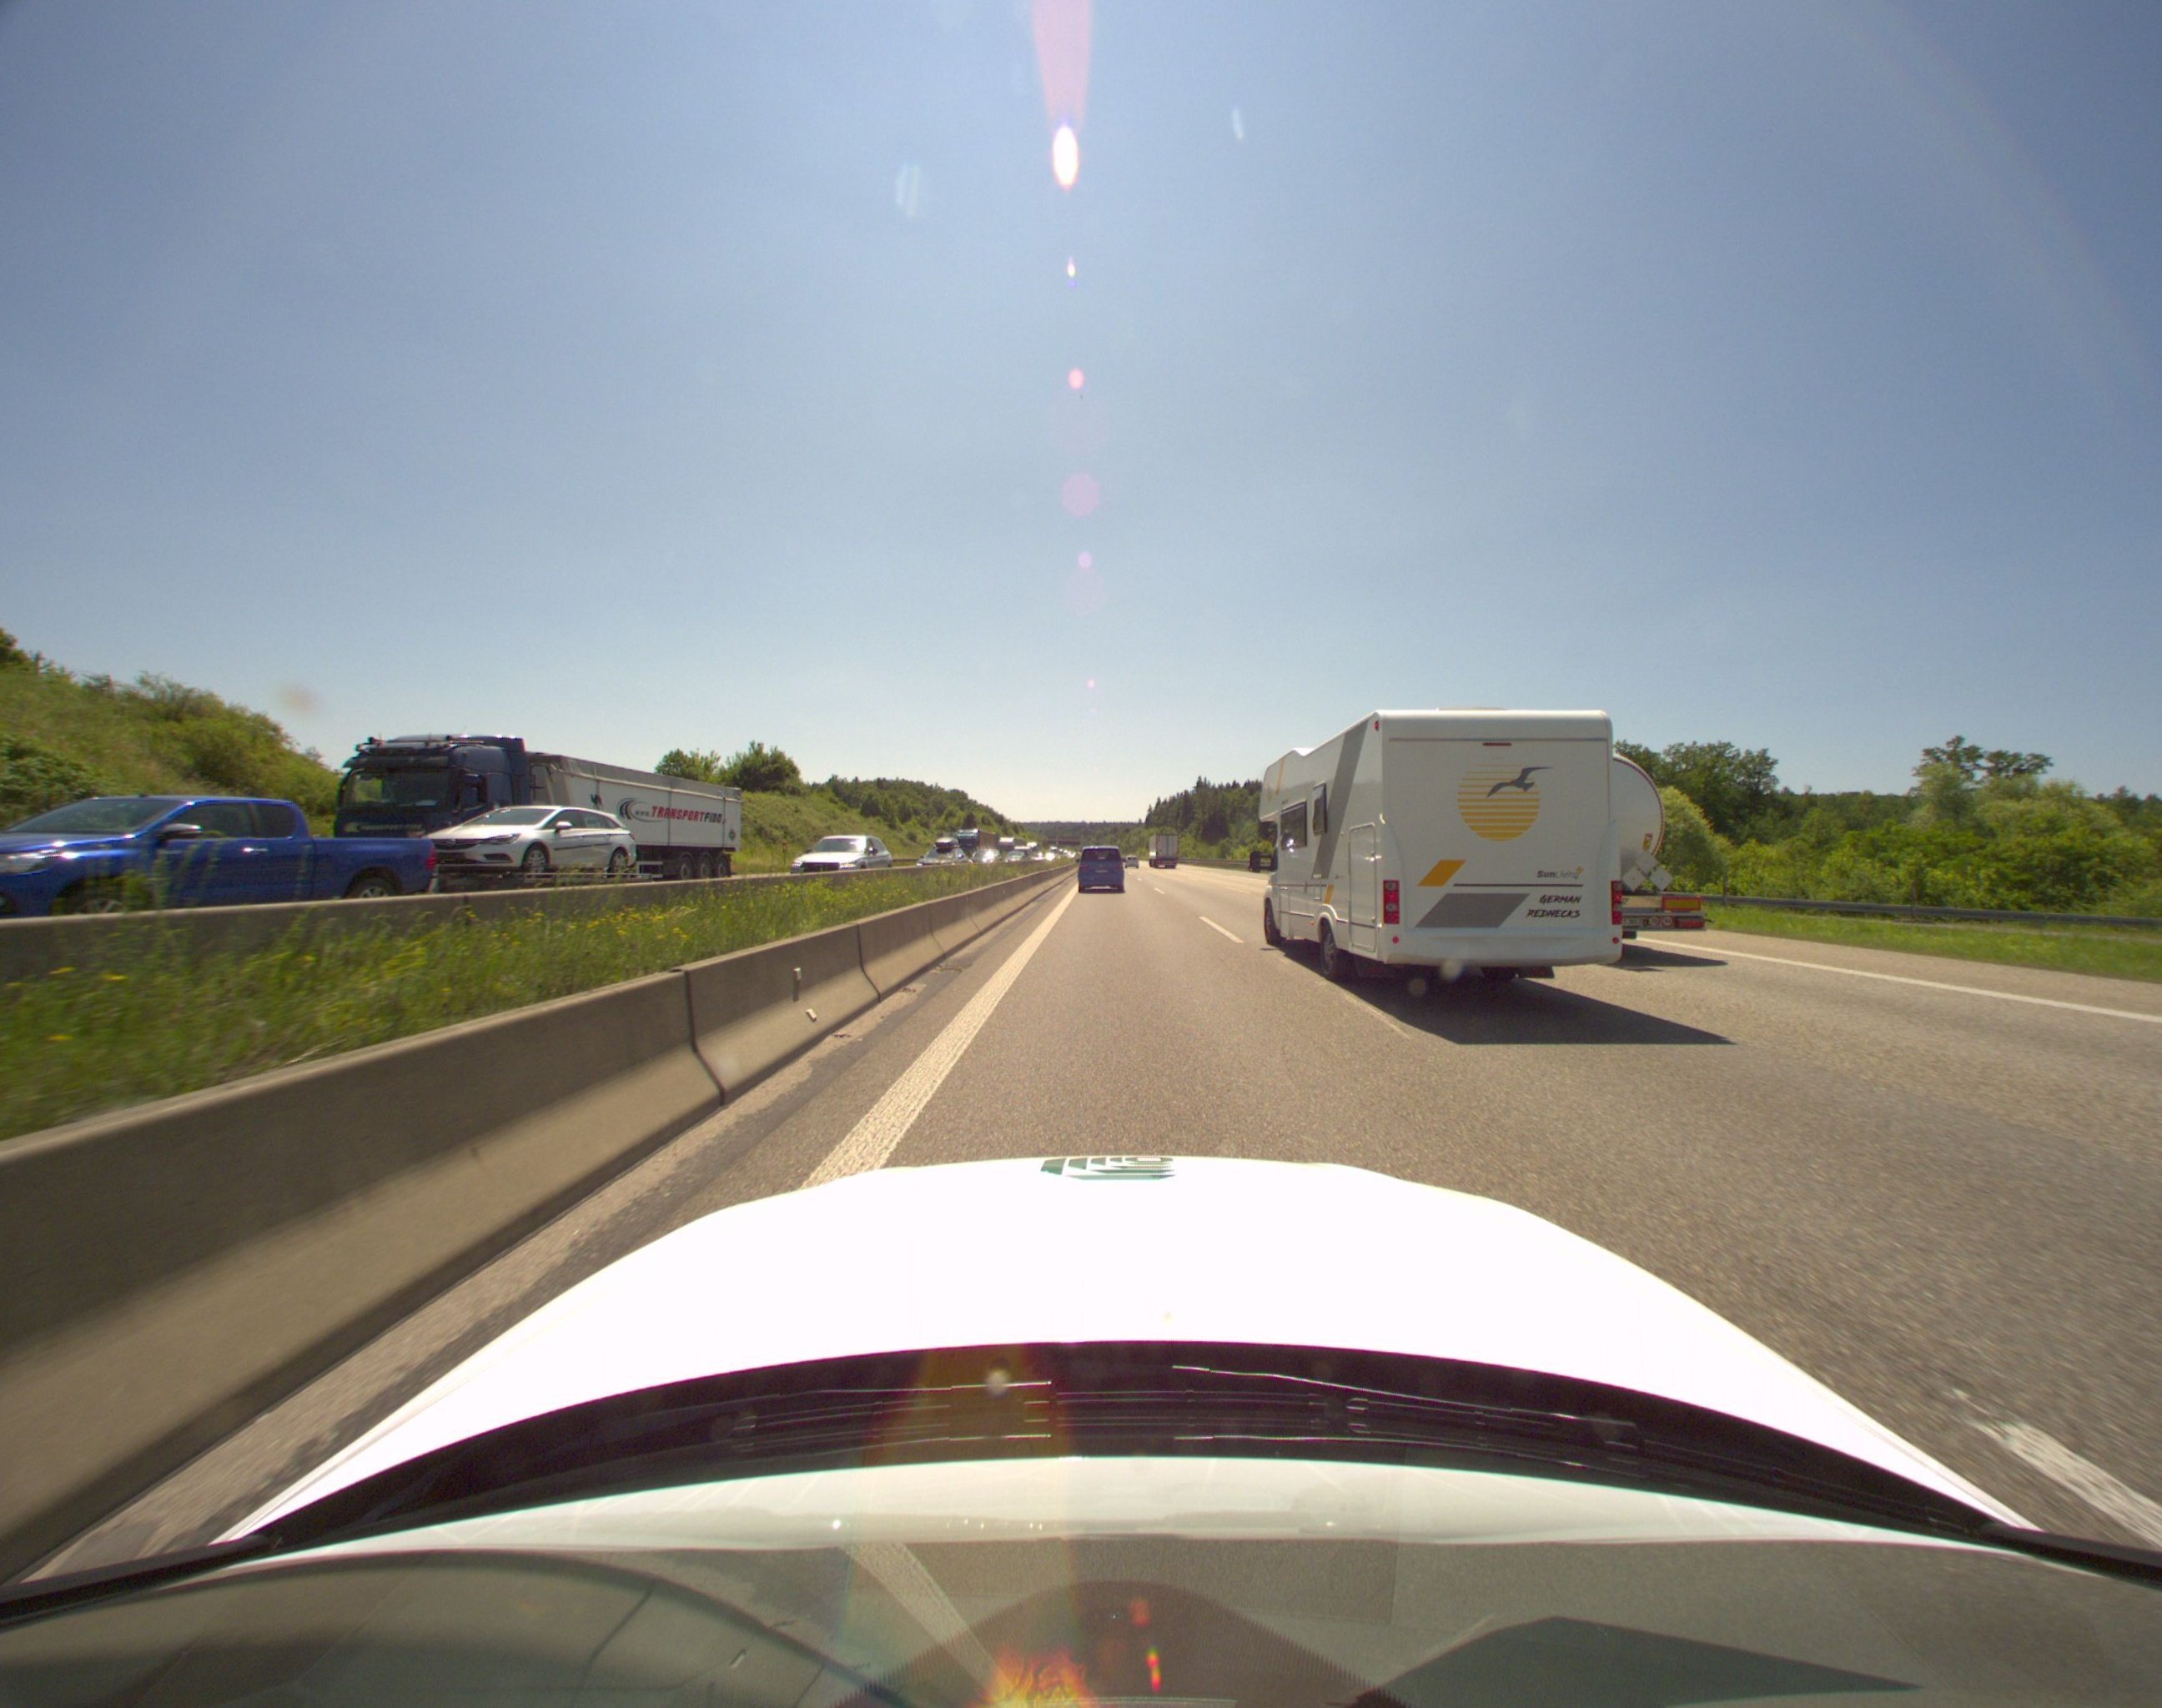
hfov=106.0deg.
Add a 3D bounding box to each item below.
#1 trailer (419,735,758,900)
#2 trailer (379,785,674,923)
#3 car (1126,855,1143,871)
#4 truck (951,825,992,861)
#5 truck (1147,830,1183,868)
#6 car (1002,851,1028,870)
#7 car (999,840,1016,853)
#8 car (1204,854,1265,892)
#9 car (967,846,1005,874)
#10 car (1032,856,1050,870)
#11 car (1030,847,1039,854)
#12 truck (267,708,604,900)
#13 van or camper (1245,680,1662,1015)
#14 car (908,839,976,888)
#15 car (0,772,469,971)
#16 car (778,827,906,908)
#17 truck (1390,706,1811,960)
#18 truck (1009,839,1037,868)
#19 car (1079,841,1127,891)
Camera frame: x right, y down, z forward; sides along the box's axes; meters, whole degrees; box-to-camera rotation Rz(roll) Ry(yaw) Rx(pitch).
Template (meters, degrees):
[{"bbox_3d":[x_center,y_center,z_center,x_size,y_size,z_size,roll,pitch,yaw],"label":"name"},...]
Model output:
[{"bbox_3d":[-14.647,-0.965,26.191,3.565,4.093,11.542,1,0,1],"label":"trailer"},{"bbox_3d":[-10.599,0.014,16.256,2.081,2.210,5.165,3,0,2],"label":"trailer"},{"bbox_3d":[6.456,1.113,98.953,1.811,1.794,3.895,3,0,1],"label":"car"},{"bbox_3d":[-12.934,-1.205,97.587,2.982,3.803,12.163,3,0,1],"label":"truck"},{"bbox_3d":[9.971,-0.558,97.713,3.474,4.170,8.644,3,0,1],"label":"truck"},{"bbox_3d":[-5.725,0.581,70.883,1.781,1.546,4.002,3,0,2],"label":"car"},{"bbox_3d":[-11.783,-1.186,131.076,2.078,2.063,5.061,3,0,2],"label":"car"},{"bbox_3d":[6.369,0.765,34.229,1.902,1.475,4.001,1,0,1],"label":"car"},{"bbox_3d":[-6.277,0.395,54.208,1.781,1.753,4.002,3,0,2],"label":"car"},{"bbox_3d":[-4.890,1.111,100.417,1.781,1.546,4.002,3,0,2],"label":"car"},{"bbox_3d":[-10.496,-0.798,182.845,1.598,1.470,3.898,3,0,2],"label":"car"},{"bbox_3d":[-14.843,-1.001,19.444,3.442,3.877,5.447,1,-1,2],"label":"truck"},{"bbox_3d":[4.139,-0.063,11.072,2.593,3.078,7.184,0,0,2],"label":"van or camper"},{"bbox_3d":[-6.387,0.434,38.042,1.986,2.013,5.165,3,0,2],"label":"car"},{"bbox_3d":[-10.743,0.179,10.130,1.789,1.834,5.747,0,0,1],"label":"car"},{"bbox_3d":[-6.803,0.366,23.879,1.986,2.013,5.165,3,0,2],"label":"car"},{"bbox_3d":[8.937,-0.437,15.768,2.917,3.574,8.531,0,2,2],"label":"truck"},{"bbox_3d":[-8.356,-0.012,119.084,2.982,3.803,12.163,3,0,1],"label":"truck"},{"bbox_3d":[0.939,0.483,34.378,1.902,2.014,4.001,0,0,1],"label":"car"}]
